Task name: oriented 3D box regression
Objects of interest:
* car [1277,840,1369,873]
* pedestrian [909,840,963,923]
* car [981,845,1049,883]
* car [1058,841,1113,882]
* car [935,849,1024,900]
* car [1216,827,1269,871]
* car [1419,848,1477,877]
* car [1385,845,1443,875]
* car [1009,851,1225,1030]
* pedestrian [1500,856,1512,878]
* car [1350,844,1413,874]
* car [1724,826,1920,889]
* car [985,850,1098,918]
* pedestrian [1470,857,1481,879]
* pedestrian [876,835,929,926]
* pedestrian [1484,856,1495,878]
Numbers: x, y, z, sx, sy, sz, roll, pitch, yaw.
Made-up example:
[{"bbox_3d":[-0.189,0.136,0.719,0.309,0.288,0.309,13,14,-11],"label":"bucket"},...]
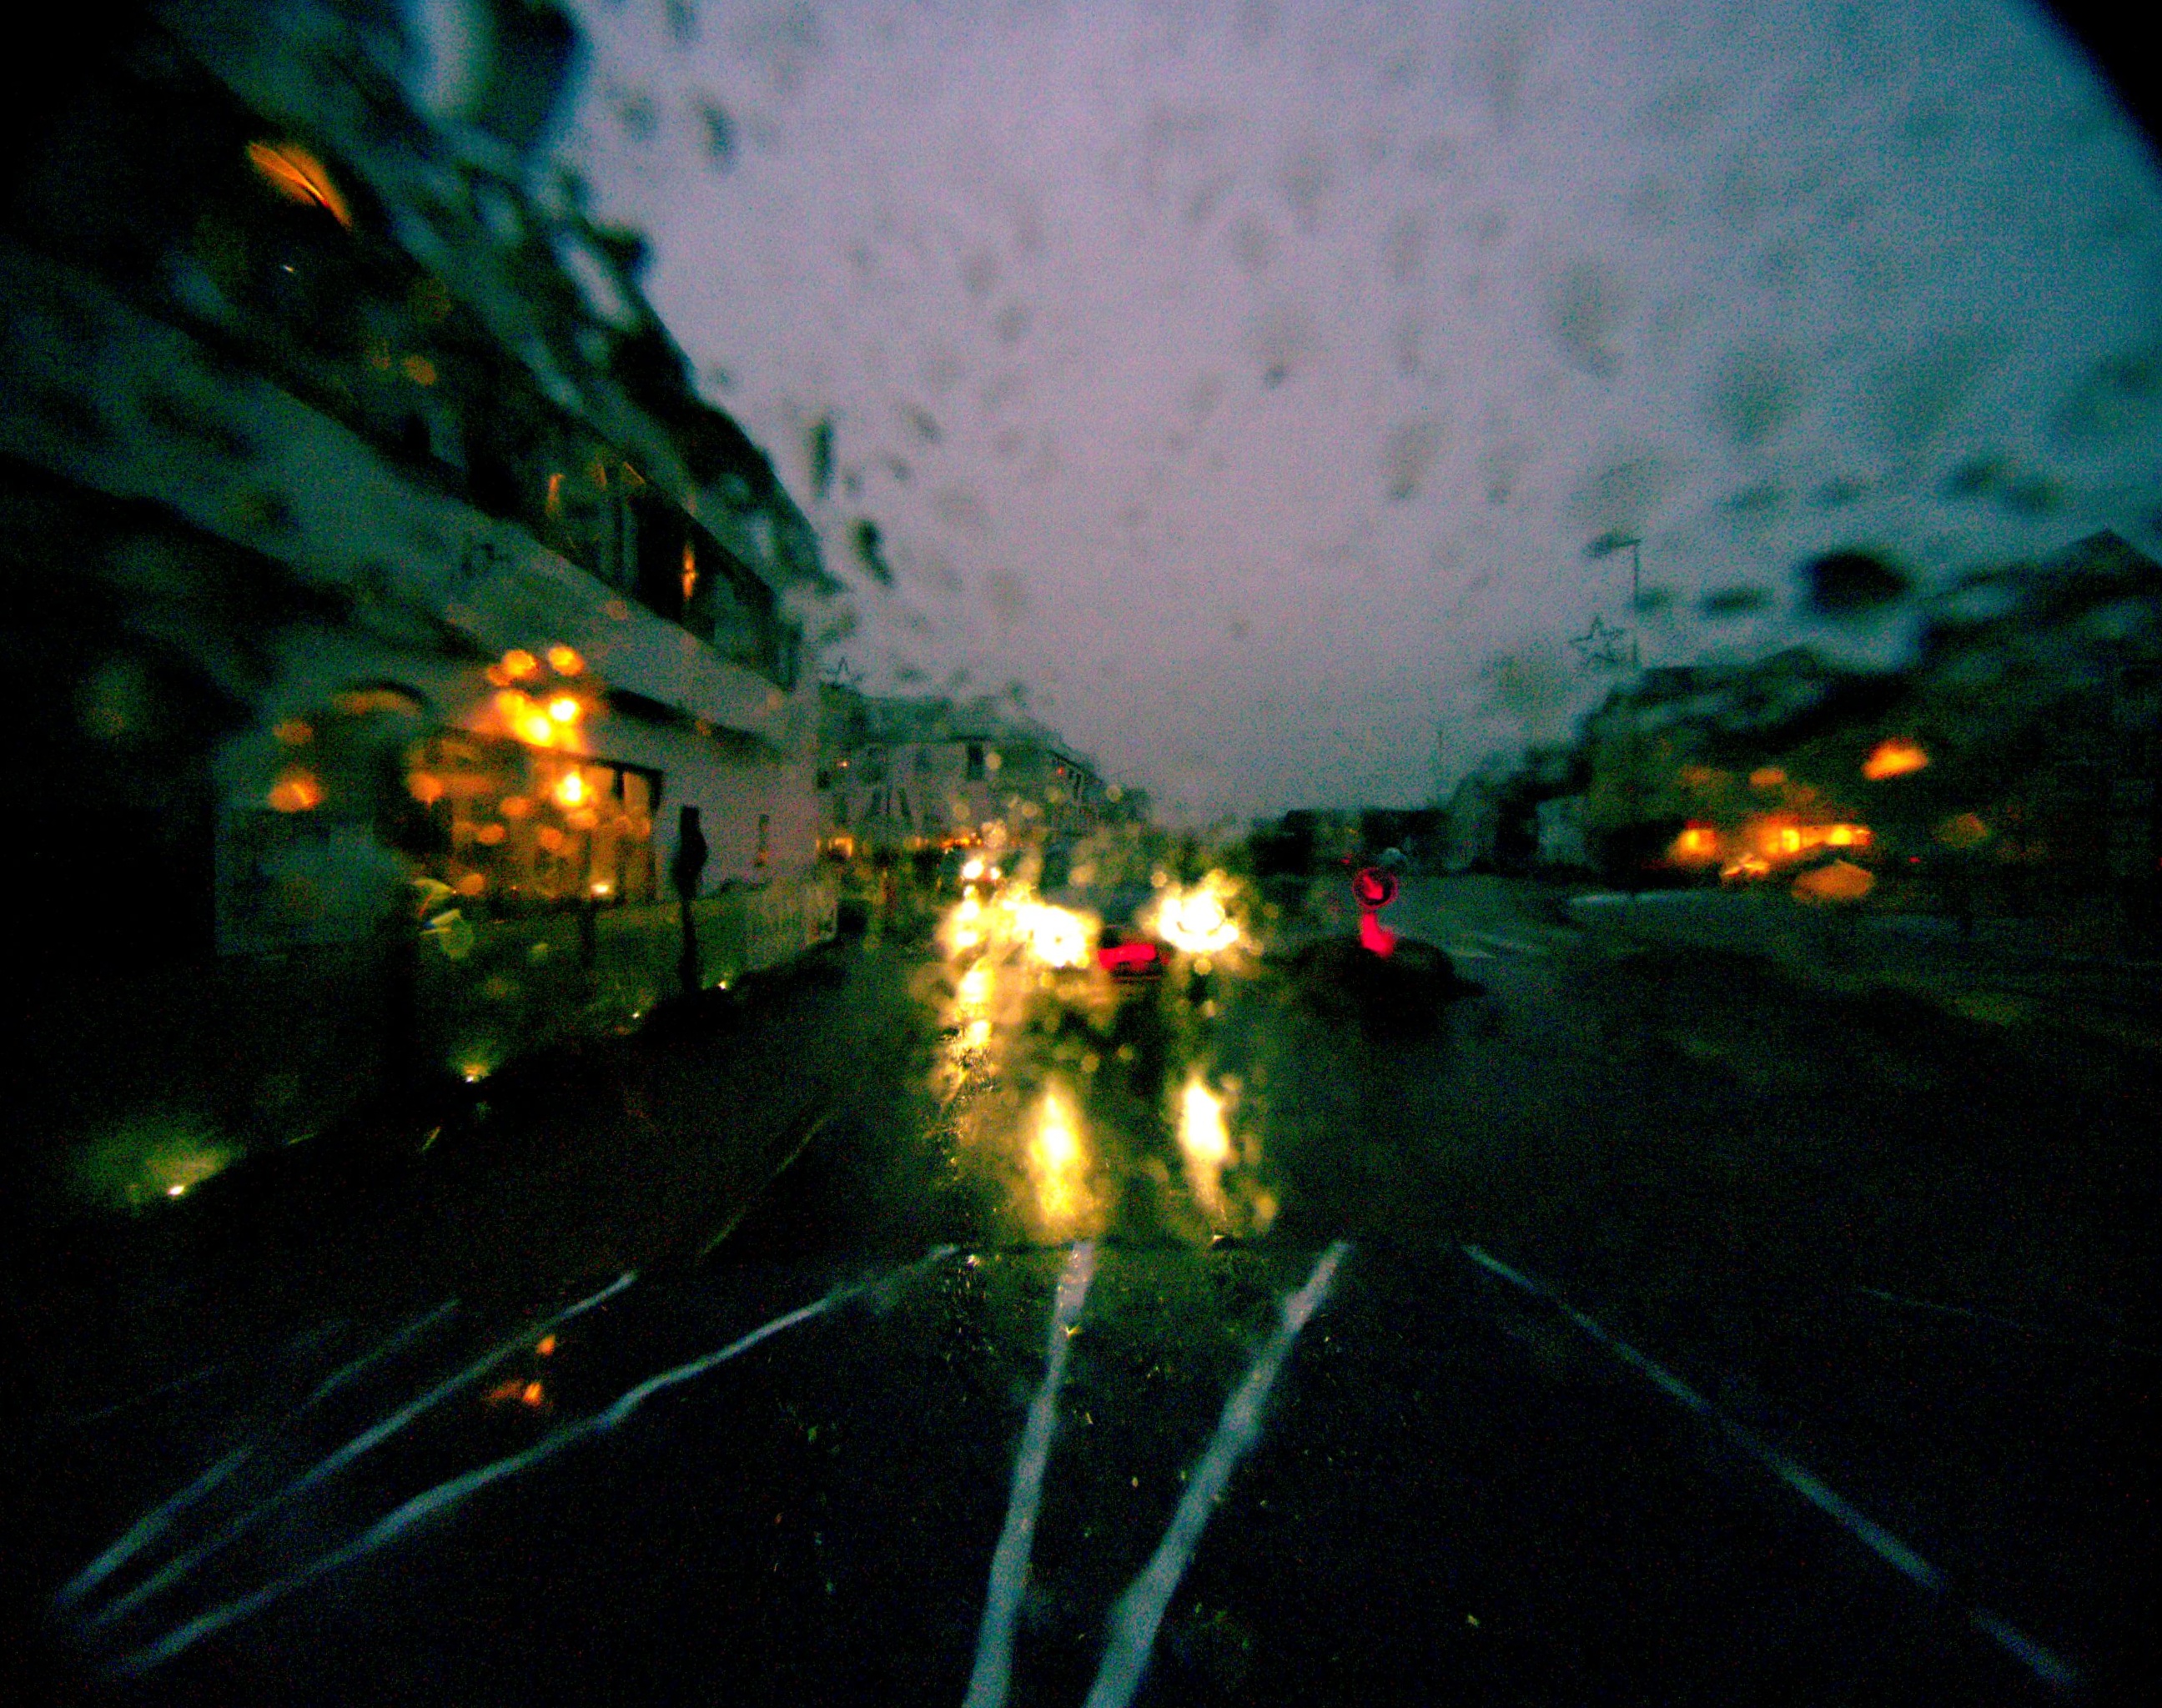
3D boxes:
[{"bbox_3d":[12.885,0.119,40.632,1.892,1.596,4.361,-4,3,-39],"label":"car"},{"bbox_3d":[-3.185,0.583,16.670,0.789,1.752,0.770,1,4,44],"label":"pedestrian"},{"bbox_3d":[-3.385,0.479,39.699,1.822,1.736,4.005,-1,3,23],"label":"car"},{"bbox_3d":[0.193,0.277,32.492,2.172,1.469,3.998,-2,2,1],"label":"car"},{"bbox_3d":[-3.658,0.631,26.707,2.030,1.471,4.548,-3,2,-21],"label":"car"},{"bbox_3d":[8.060,-0.297,37.576,2.055,1.976,4.541,-1,2,18],"label":"car"},{"bbox_3d":[27.325,0.598,56.684,1.936,1.871,3.866,-3,2,-13],"label":"car"},{"bbox_3d":[24.649,0.432,56.398,1.926,2.003,3.966,-3,2,-13],"label":"car"},{"bbox_3d":[0.302,0.792,9.056,1.958,1.576,4.109,-1,1,-1],"label":"car"},{"bbox_3d":[31.554,0.981,56.427,0.582,1.602,0.500,-2,3,5],"label":"pedestrian"},{"bbox_3d":[22.025,0.327,55.835,1.974,1.984,3.991,-3,3,-26],"label":"car"},{"bbox_3d":[25.498,0.130,26.403,4.453,2.003,2.003,-1,3,26],"label":"car"},{"bbox_3d":[-1.142,0.677,19.721,1.765,1.471,4.012,-3,2,-20],"label":"car"},{"bbox_3d":[29.549,1.015,56.890,0.582,1.602,0.500,-2,3,5],"label":"pedestrian"},{"bbox_3d":[-3.805,0.547,16.206,0.789,1.856,0.711,1,4,44],"label":"pedestrian"},{"bbox_3d":[30.535,0.992,56.784,0.582,1.602,0.500,-2,3,5],"label":"pedestrian"}]
